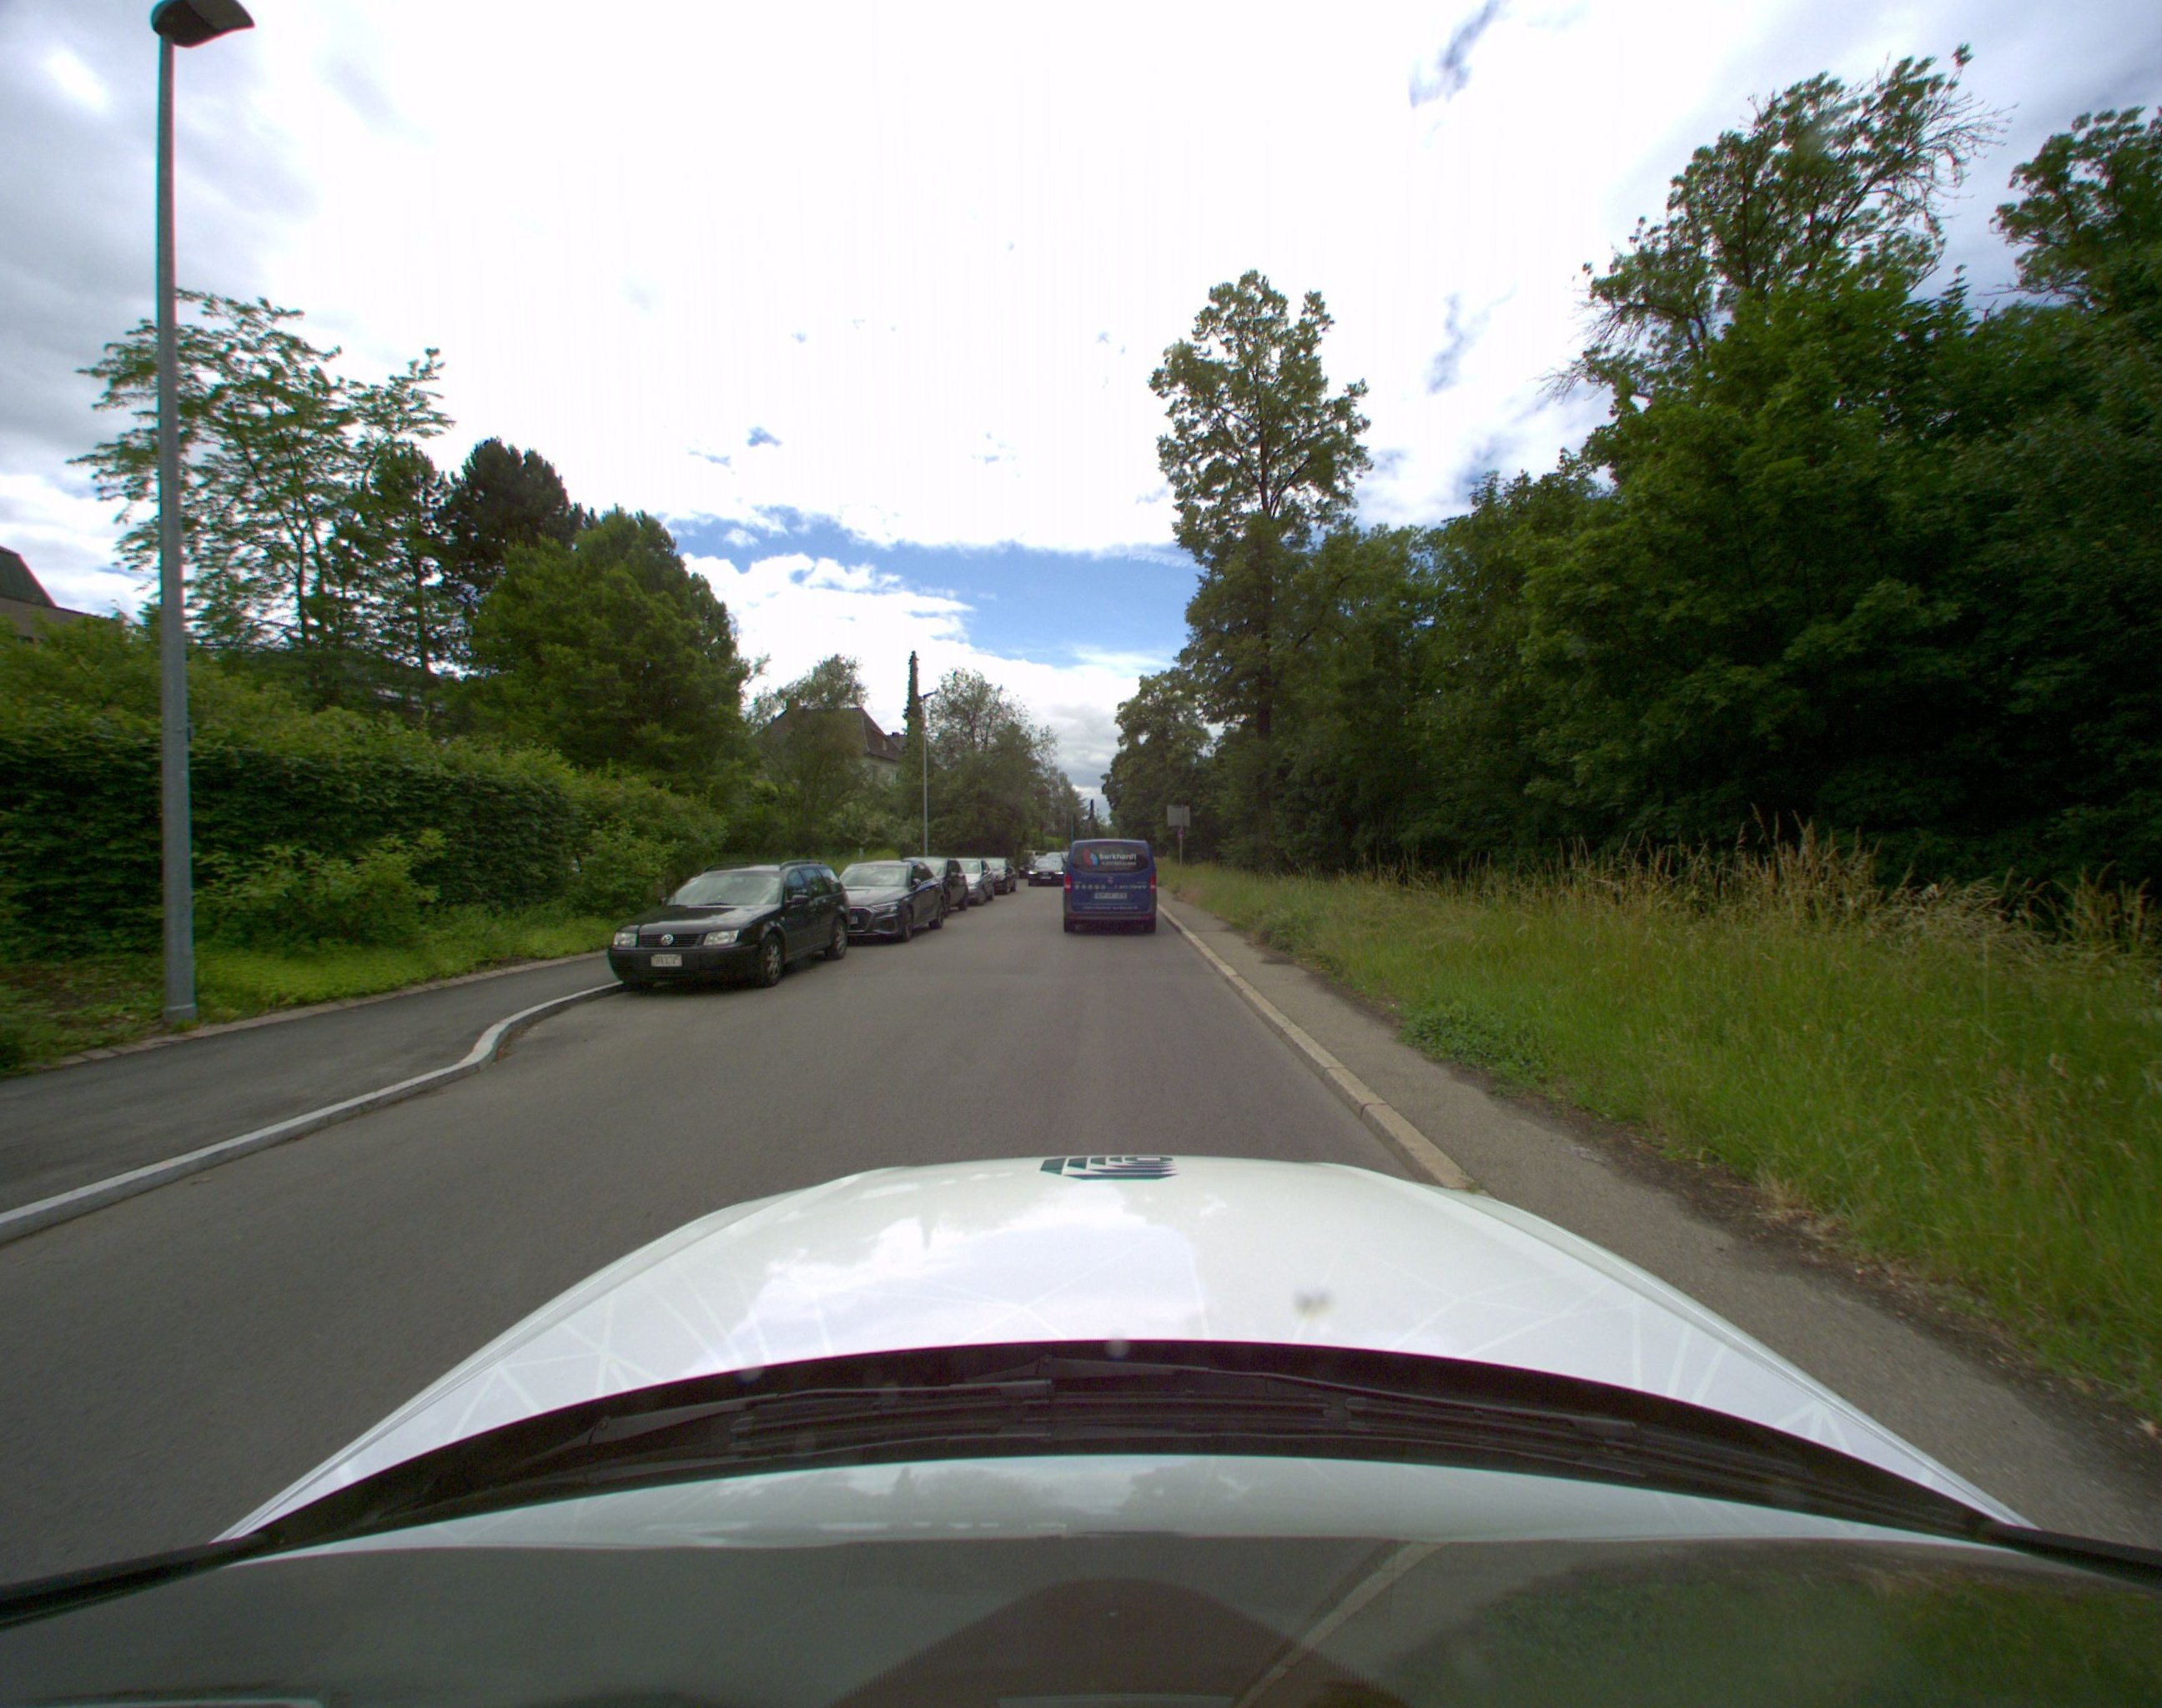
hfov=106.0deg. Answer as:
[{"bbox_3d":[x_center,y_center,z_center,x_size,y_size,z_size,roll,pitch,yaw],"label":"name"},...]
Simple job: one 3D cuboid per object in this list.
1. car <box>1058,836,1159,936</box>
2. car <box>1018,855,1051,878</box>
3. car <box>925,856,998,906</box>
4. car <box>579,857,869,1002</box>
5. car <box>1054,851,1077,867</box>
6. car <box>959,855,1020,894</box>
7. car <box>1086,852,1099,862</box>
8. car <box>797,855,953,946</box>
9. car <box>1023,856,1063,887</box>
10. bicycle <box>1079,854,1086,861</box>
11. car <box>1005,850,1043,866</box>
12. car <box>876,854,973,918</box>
[{"bbox_3d":[0.524,0.566,17.520,1.883,1.843,4.000,1,2,0],"label":"car"},{"bbox_3d":[-2.988,0.778,52.706,1.616,1.450,3.973,-1,0,4],"label":"car"},{"bbox_3d":[-3.717,0.787,25.996,1.618,1.432,4.351,-1,0,1],"label":"car"},{"bbox_3d":[-4.371,0.802,10.914,1.676,1.482,4.695,-1,0,2],"label":"car"},{"bbox_3d":[-1.725,0.553,91.606,1.965,1.737,5.196,1,0,5],"label":"car"},{"bbox_3d":[-3.559,0.769,32.486,1.772,1.432,5.106,0,0,1],"label":"car"},{"bbox_3d":[2.035,0.579,142.802,1.827,1.631,4.307,2,0,5],"label":"car"},{"bbox_3d":[-3.802,0.787,15.876,1.699,1.482,4.498,-1,0,3],"label":"car"},{"bbox_3d":[-1.854,0.846,41.020,1.774,1.426,4.490,0,0,1],"label":"car"},{"bbox_3d":[0.208,0.634,139.986,0.902,1.252,2.920,3,0,5],"label":"bicycle"},{"bbox_3d":[-6.246,0.412,88.843,3.665,1.637,1.835,1,0,15],"label":"car"},{"bbox_3d":[-3.938,0.756,21.104,1.618,1.482,4.002,-1,0,2],"label":"car"}]
